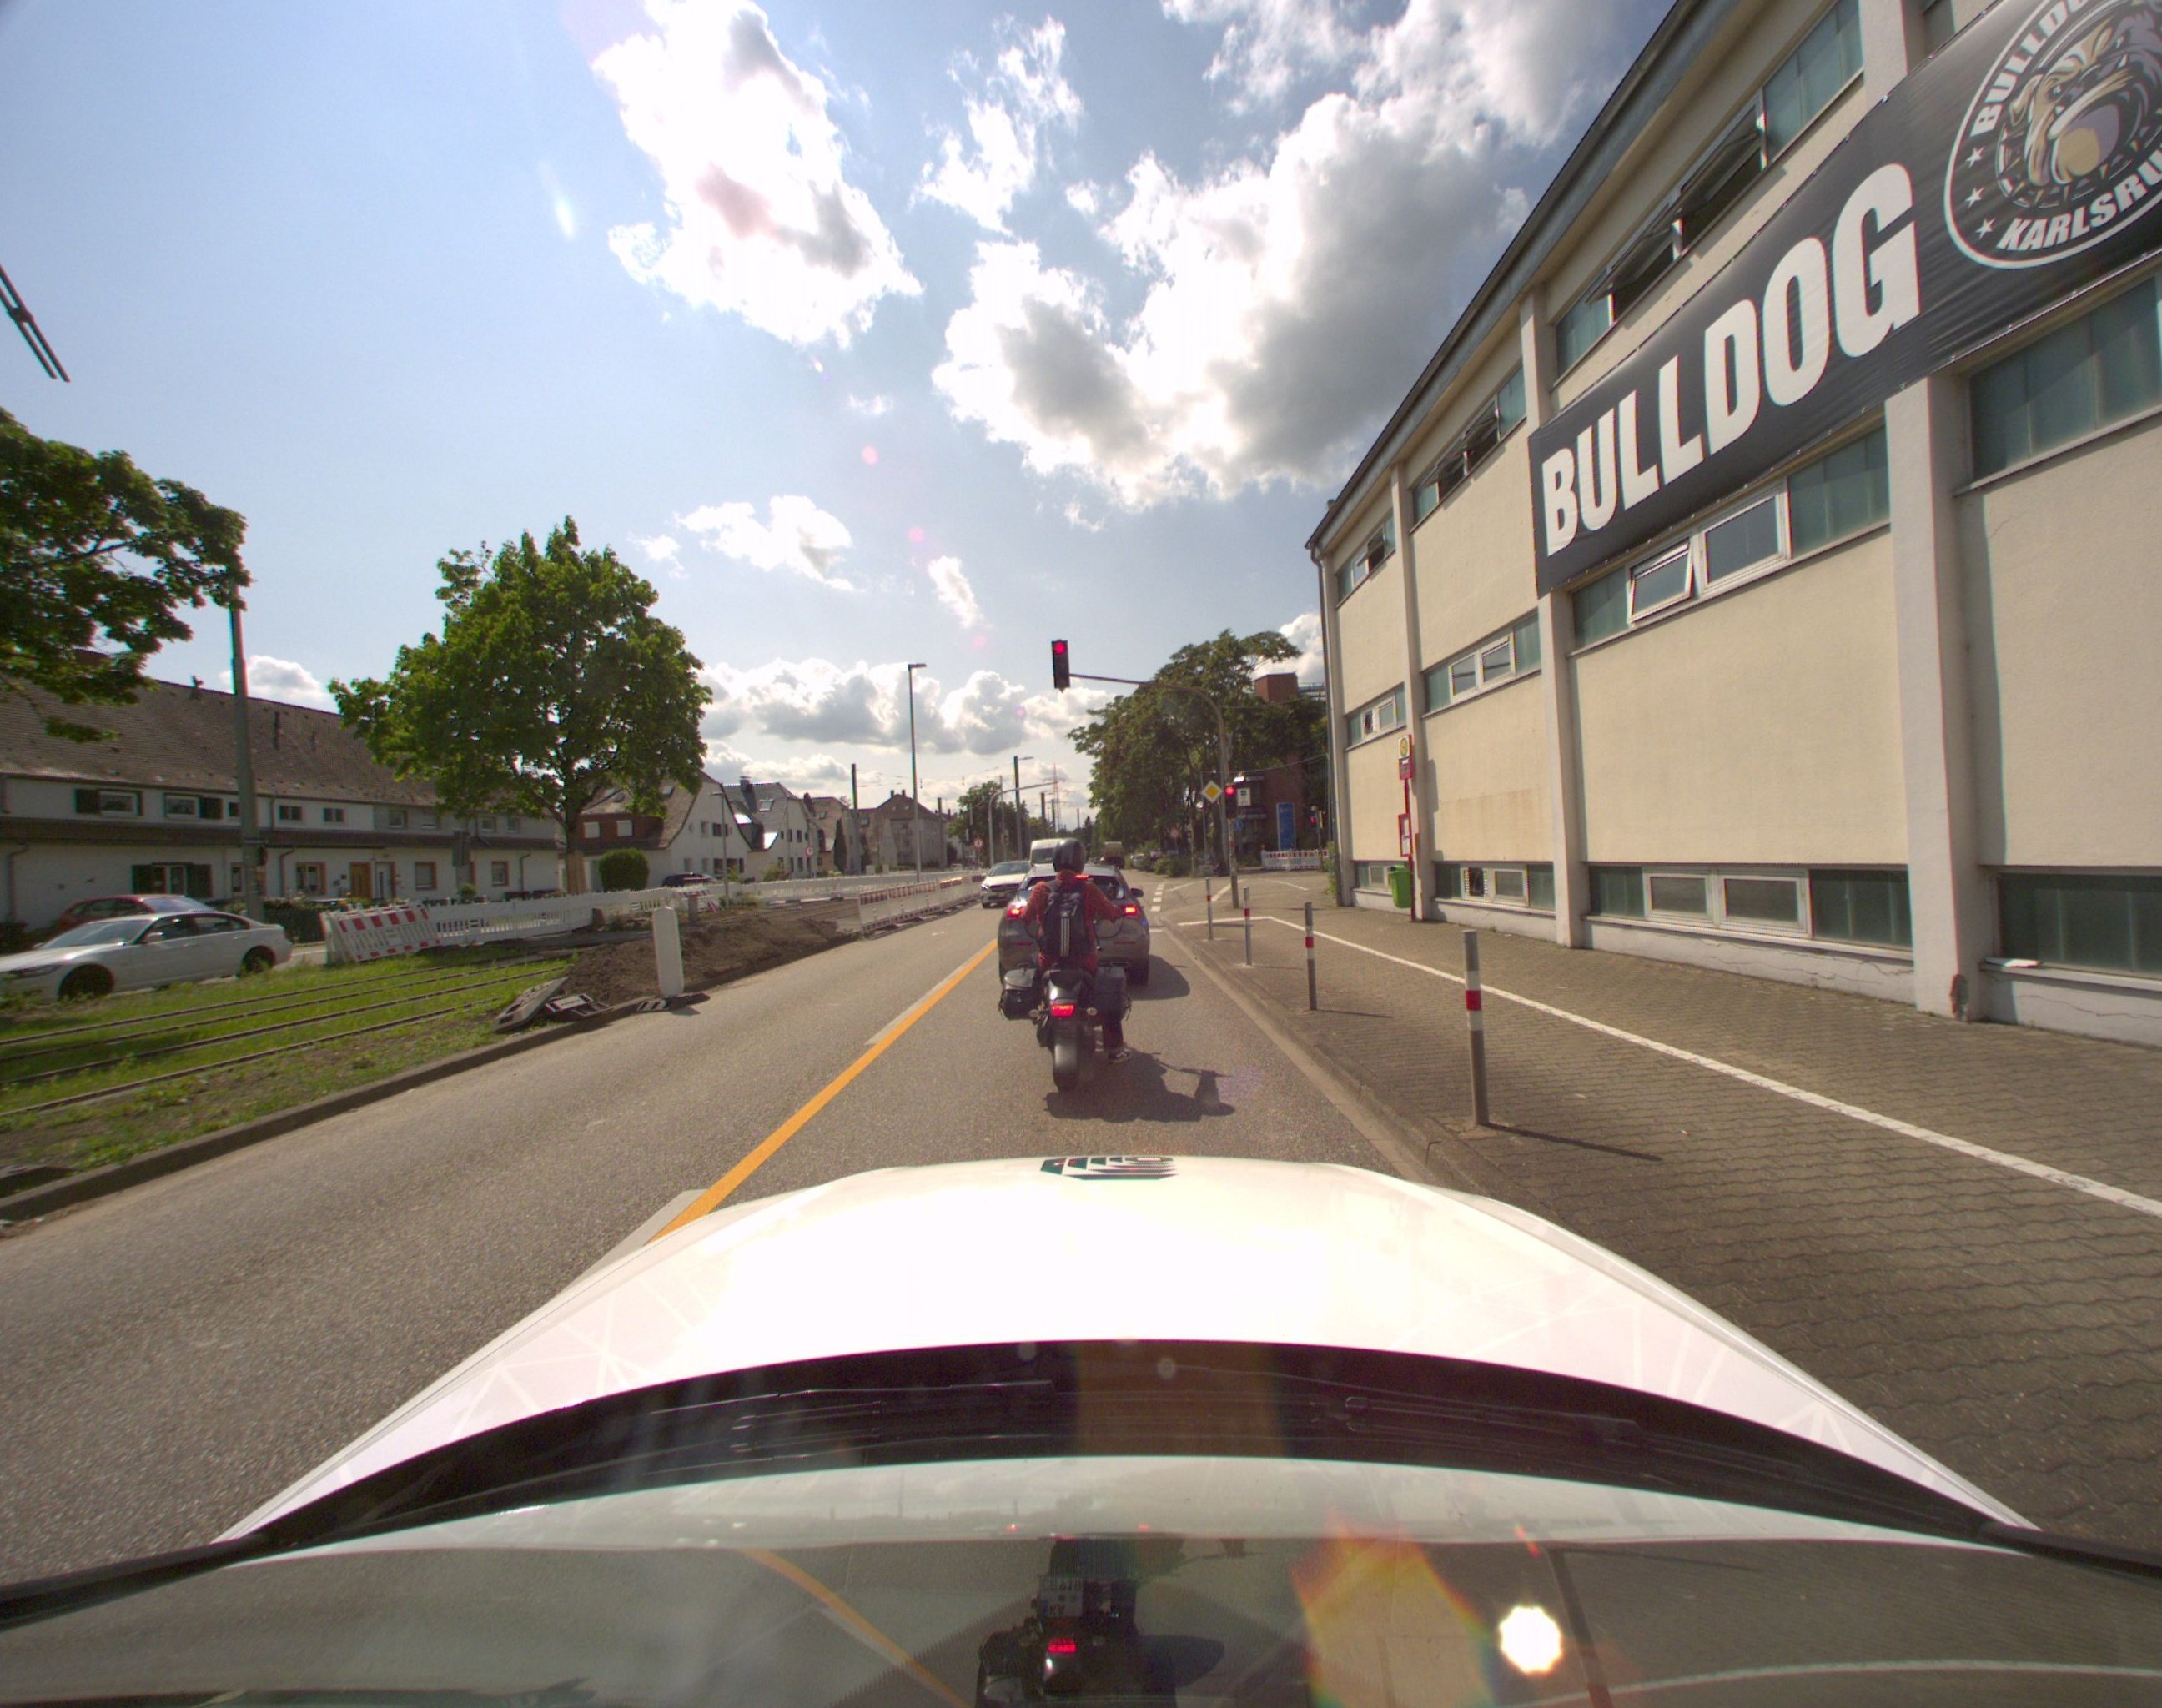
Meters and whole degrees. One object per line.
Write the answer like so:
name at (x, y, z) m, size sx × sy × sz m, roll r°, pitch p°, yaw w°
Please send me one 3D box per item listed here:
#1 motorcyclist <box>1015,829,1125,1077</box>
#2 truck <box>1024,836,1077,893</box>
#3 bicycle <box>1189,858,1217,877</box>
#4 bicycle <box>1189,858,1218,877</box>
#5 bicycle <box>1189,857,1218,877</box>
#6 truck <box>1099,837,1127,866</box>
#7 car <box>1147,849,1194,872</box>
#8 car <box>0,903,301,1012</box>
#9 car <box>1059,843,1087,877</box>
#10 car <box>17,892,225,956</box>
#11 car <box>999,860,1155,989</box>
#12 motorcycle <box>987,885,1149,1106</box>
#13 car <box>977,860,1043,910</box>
motorcyclist at (-0.066, 0.648, 5.666) m, size 0.696 × 1.604 × 0.692 m, roll -1°, pitch -1°, yaw 1°
truck at (-1.432, 0.439, 40.481) m, size 2.085 × 2.476 × 5.198 m, roll -4°, pitch 1°, yaw 2°
bicycle at (7.553, 0.828, 50.411) m, size 1.699 × 1.172 × 0.438 m, roll -1°, pitch -1°, yaw 6°
bicycle at (7.471, 0.821, 49.819) m, size 1.699 × 1.172 × 0.438 m, roll -1°, pitch -1°, yaw 6°
bicycle at (7.392, 0.796, 49.277) m, size 1.699 × 1.172 × 0.438 m, roll -1°, pitch -1°, yaw 6°
truck at (3.832, -0.208, 95.749) m, size 2.954 × 3.173 × 7.771 m, roll -1°, pitch -1°, yaw 4°
car at (7.674, 0.532, 69.578) m, size 4.023 × 1.926 × 1.781 m, roll 0°, pitch -1°, yaw -44°
car at (-16.452, 1.705, 14.325) m, size 1.538 × 1.376 × 4.245 m, roll -3°, pitch 0°, yaw -5°
car at (-0.496, 0.430, 53.542) m, size 1.583 × 2.143 × 3.628 m, roll -1°, pitch -1°, yaw 2°
car at (-28.264, 2.039, 24.082) m, size 3.974 × 1.509 × 1.725 m, roll -3°, pitch 0°, yaw -1°
car at (-0.155, 0.791, 11.084) m, size 1.728 × 1.403 × 4.081 m, roll -1°, pitch 0°, yaw -3°
motorcycle at (-0.051, 0.882, 6.046) m, size 0.939 × 1.200 × 2.473 m, roll -1°, pitch 0°, yaw 1°
car at (-2.320, 1.007, 27.581) m, size 1.738 × 1.437 × 4.084 m, roll -4°, pitch -1°, yaw 1°
